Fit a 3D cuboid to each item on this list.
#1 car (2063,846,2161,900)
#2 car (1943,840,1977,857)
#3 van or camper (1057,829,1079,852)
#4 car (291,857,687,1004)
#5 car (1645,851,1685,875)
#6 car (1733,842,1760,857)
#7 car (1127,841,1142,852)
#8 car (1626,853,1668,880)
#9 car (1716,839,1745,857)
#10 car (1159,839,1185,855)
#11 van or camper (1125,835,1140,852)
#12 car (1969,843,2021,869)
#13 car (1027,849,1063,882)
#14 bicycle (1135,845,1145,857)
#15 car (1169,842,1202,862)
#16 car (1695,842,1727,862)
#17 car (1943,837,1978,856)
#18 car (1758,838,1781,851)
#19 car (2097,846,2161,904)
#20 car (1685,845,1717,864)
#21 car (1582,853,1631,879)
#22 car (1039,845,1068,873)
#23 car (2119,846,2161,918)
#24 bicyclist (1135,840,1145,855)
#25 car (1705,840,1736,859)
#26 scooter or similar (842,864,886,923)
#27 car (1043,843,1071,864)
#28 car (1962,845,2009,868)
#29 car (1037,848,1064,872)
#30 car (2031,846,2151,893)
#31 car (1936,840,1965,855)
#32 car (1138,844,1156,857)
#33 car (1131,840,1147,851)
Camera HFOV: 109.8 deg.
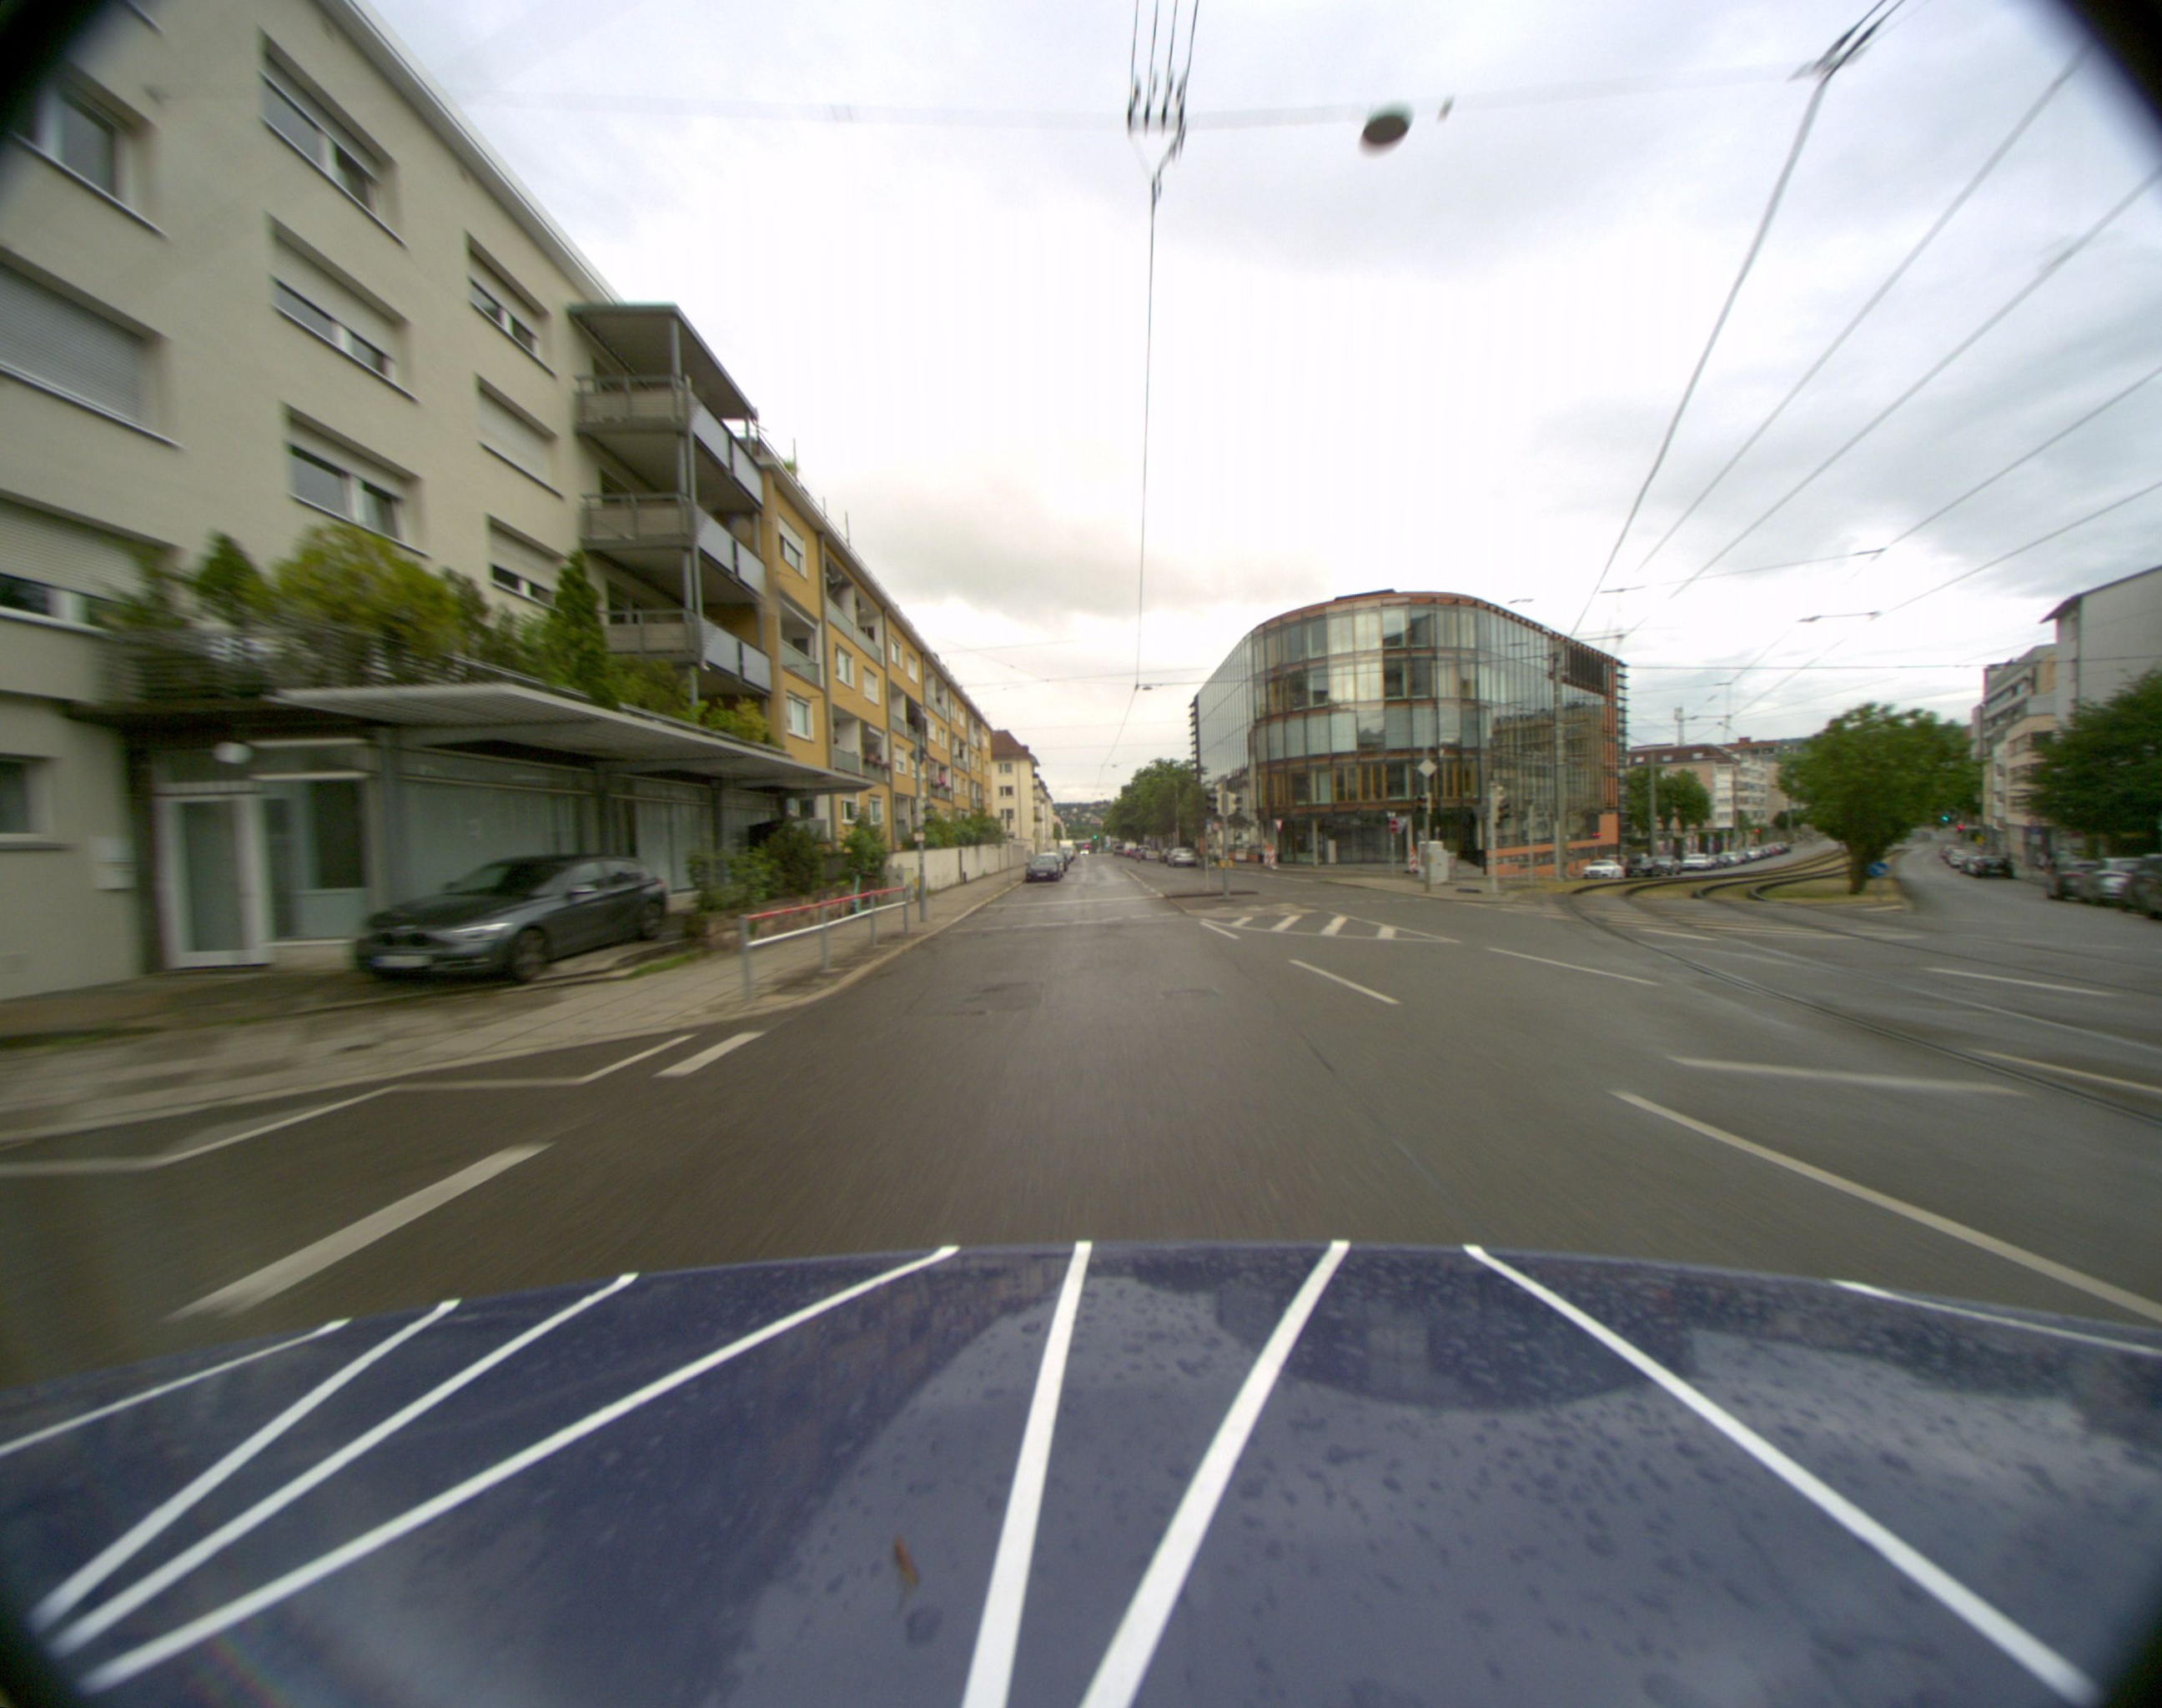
[{"bbox_3d":[31.373,0.532,22.716,4.321,1.499,1.994,0,-1,-44],"label":"car"},{"bbox_3d":[88.165,-0.501,76.279,4.712,1.498,1.994,2,-2,-44],"label":"car"},{"bbox_3d":[-1.878,-2.036,110.090,2.754,3.041,7.028,-3,2,1],"label":"van or camper"},{"bbox_3d":[-7.481,0.824,10.343,1.858,1.494,4.448,1,1,1],"label":"car"},{"bbox_3d":[50.021,0.715,65.083,4.006,1.740,1.912,-5,3,-41],"label":"car"},{"bbox_3d":[81.115,-0.546,92.566,4.009,1.739,1.912,1,-1,-41],"label":"car"},{"bbox_3d":[8.730,-1.281,124.459,1.999,1.566,3.998,-3,2,0],"label":"car"},{"bbox_3d":[45.924,0.996,61.595,4.006,1.883,1.912,-5,3,-41],"label":"car"},{"bbox_3d":[72.601,-0.660,84.901,4.006,1.740,1.912,-5,3,-41],"label":"car"},{"bbox_3d":[8.862,-0.673,74.306,1.727,1.456,4.328,-1,1,-4],"label":"car"},{"bbox_3d":[8.869,-1.810,130.341,2.143,2.588,5.548,-3,2,1],"label":"van or camper"},{"bbox_3d":[63.551,0.130,52.867,4.319,1.499,1.994,-4,1,-44],"label":"car"},{"bbox_3d":[-1.916,0.583,41.870,1.734,1.452,4.476,-3,2,0],"label":"car"},{"bbox_3d":[6.059,-0.316,77.864,0.826,1.142,2.126,-2,2,1],"label":"bicycle"},{"bbox_3d":[8.023,-0.170,58.850,1.863,1.387,4.643,-2,1,-1],"label":"car"},{"bbox_3d":[64.297,-0.243,77.547,4.006,1.740,1.912,-5,3,-41],"label":"car"},{"bbox_3d":[84.004,-0.755,72.616,4.319,1.499,1.994,-5,2,-44],"label":"car"},{"bbox_3d":[93.452,-1.251,103.122,4.008,1.739,1.912,0,0,-41],"label":"car"},{"bbox_3d":[27.146,0.491,18.949,2.899,1.384,1.806,0,0,-44],"label":"car"},{"bbox_3d":[60.914,0.030,74.640,4.006,1.501,1.784,-5,3,-41],"label":"car"},{"bbox_3d":[37.769,0.842,54.568,4.006,1.488,1.912,-5,3,-41],"label":"car"},{"bbox_3d":[-1.708,0.280,47.465,1.652,1.452,4.100,-3,2,-2],"label":"car"},{"bbox_3d":[23.696,0.572,15.809,4.501,1.453,1.869,-1,2,-44],"label":"car"},{"bbox_3d":[6.038,-0.637,77.848,0.826,1.454,1.140,-3,3,1],"label":"bicyclist"},{"bbox_3d":[68.324,-0.457,81.208,4.006,1.740,1.912,-5,3,-41],"label":"car"},{"bbox_3d":[-5.401,0.955,18.989,0.536,1.320,1.658,2,2,1],"label":"scooter or similar"},{"bbox_3d":[-1.829,-0.074,58.843,1.916,1.418,4.449,-3,2,0],"label":"car"},{"bbox_3d":[67.637,0.210,56.885,4.320,1.499,1.994,-3,1,-44],"label":"car"},{"bbox_3d":[-2.116,0.386,53.081,1.690,1.445,3.552,-3,2,0],"label":"car"},{"bbox_3d":[34.971,0.558,26.451,4.322,1.498,1.994,2,-2,-44],"label":"car"},{"bbox_3d":[98.434,-0.698,86.044,4.322,1.498,1.994,2,-2,-44],"label":"car"},{"bbox_3d":[8.539,-0.461,98.586,1.881,1.390,3.997,-2,2,-2],"label":"car"},{"bbox_3d":[8.761,-1.344,115.098,1.881,1.457,3.516,-2,2,-2],"label":"car"}]
